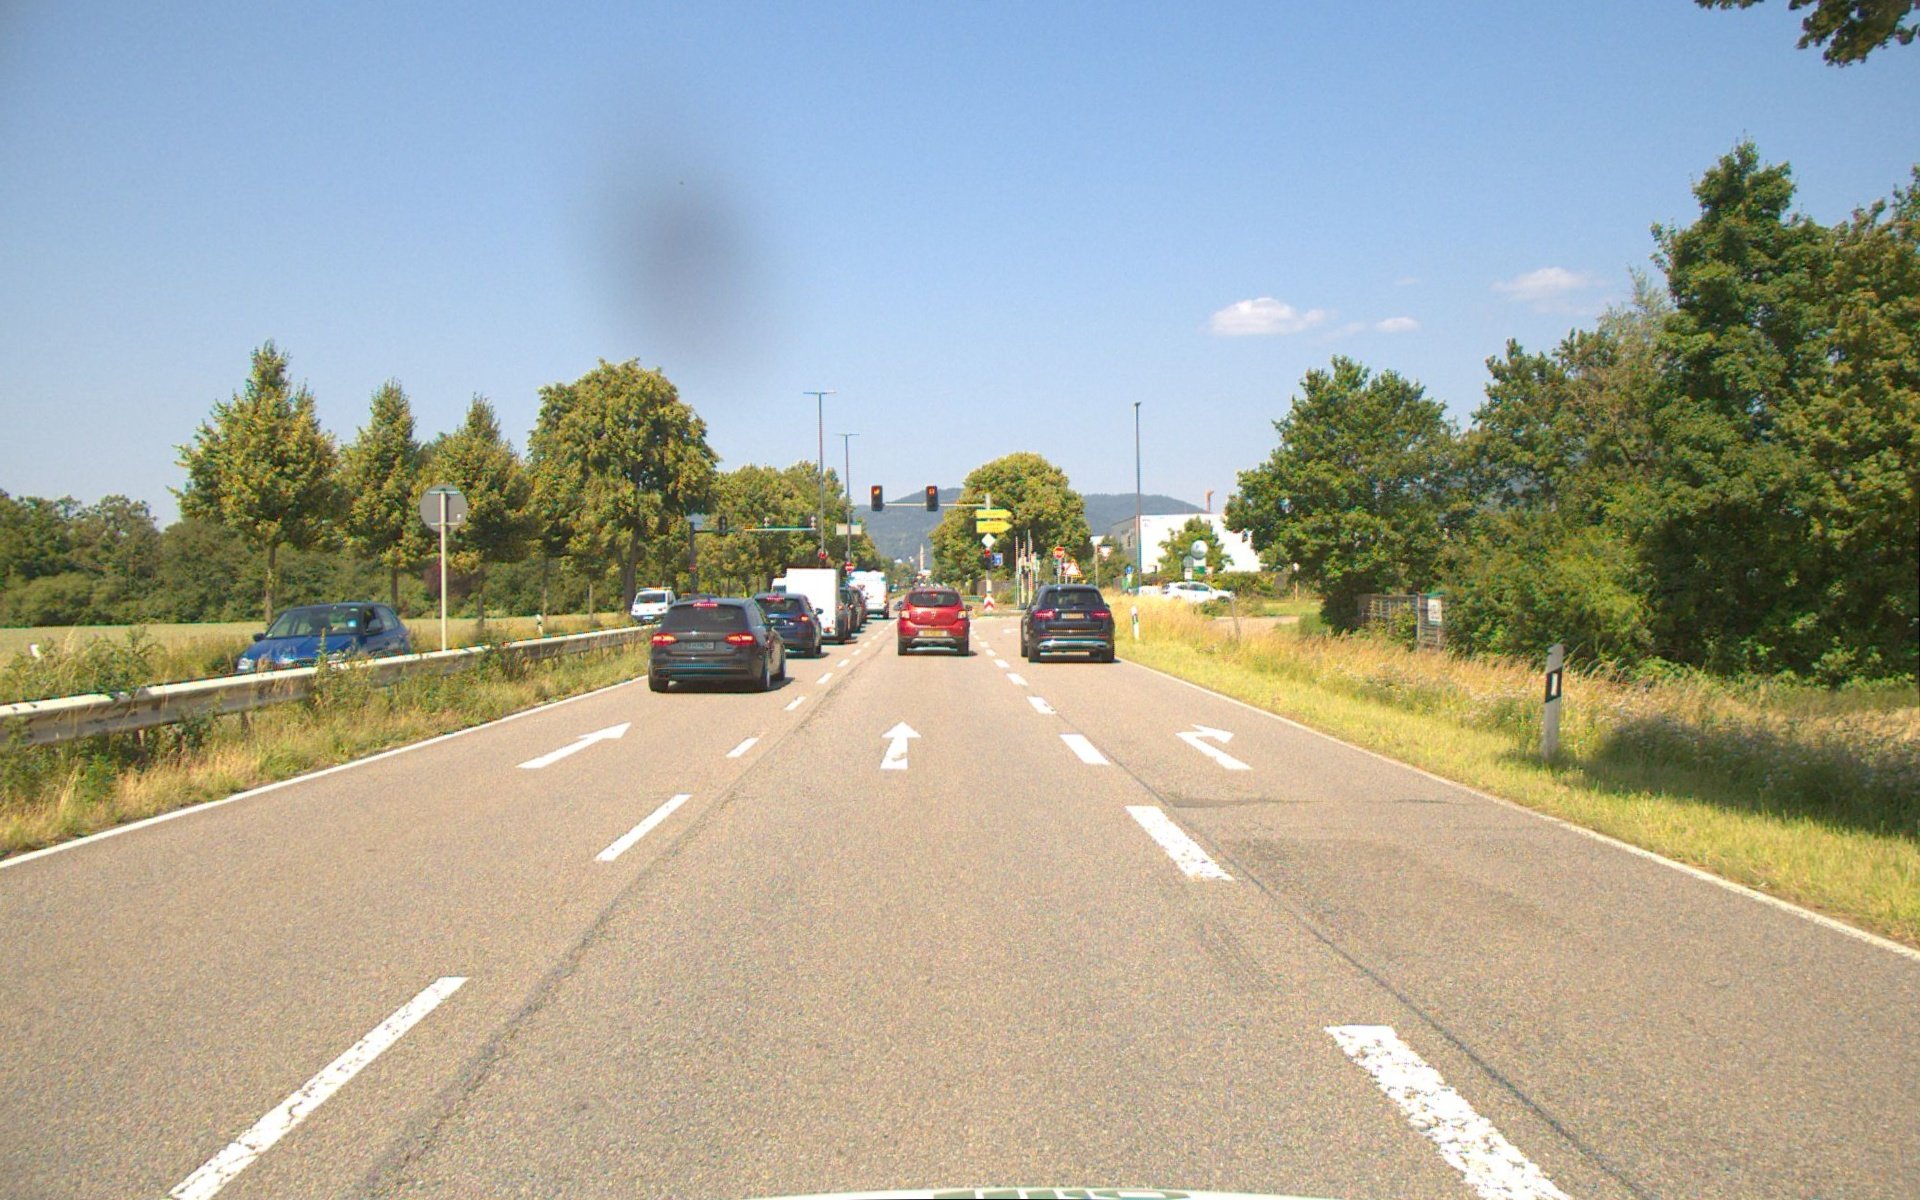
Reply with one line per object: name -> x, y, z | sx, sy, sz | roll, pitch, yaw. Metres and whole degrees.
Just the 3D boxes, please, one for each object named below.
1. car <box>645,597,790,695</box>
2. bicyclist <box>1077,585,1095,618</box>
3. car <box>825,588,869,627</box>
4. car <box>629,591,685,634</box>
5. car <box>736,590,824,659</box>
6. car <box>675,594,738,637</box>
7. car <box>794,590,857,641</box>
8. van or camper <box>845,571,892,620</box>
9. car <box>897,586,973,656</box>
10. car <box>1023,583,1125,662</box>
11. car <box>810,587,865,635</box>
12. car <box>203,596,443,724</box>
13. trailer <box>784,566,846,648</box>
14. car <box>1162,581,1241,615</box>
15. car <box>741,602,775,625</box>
car -> -3.750, 0.666, 26.277 | 1.705, 1.404, 4.454 | 0, 0, -1
bicyclist -> 7.074, 0.084, 93.149 | 0.787, 1.802, 0.806 | -1, 0, -11
car -> -4.922, 0.306, 72.584 | 1.689, 1.628, 3.955 | -1, 0, -1
car -> -14.824, 0.592, 81.178 | 1.953, 1.985, 4.828 | -1, 0, -2
car -> -4.088, 0.526, 38.091 | 1.682, 1.491, 4.029 | 0, 0, -1
car -> -10.266, 0.591, 67.216 | 1.953, 1.631, 4.479 | -1, 0, -2
car -> -4.173, 0.461, 51.805 | 1.710, 1.529, 4.361 | 0, 0, -2
van or camper -> -4.564, -0.219, 83.219 | 2.135, 2.343, 4.826 | -1, 0, -1
car -> -0.556, 0.478, 39.766 | 1.713, 1.603, 3.676 | 0, 0, 0
car -> 2.433, 0.451, 36.279 | 1.952, 1.645, 4.339 | 0, 0, 0
car -> -4.340, 0.371, 58.967 | 1.688, 1.603, 3.892 | -1, 0, -1
car -> -9.445, 0.820, 24.942 | 1.953, 1.691, 4.479 | -1, 0, -2
trailer -> -4.128, 0.183, 47.606 | 1.470, 2.211, 4.173 | -1, 0, -1
car -> 14.352, -0.119, 98.317 | 4.397, 1.900, 1.885 | -1, 0, 1
car -> -13.444, 0.882, 110.263 | 1.841, 1.480, 4.503 | -1, 0, -2
